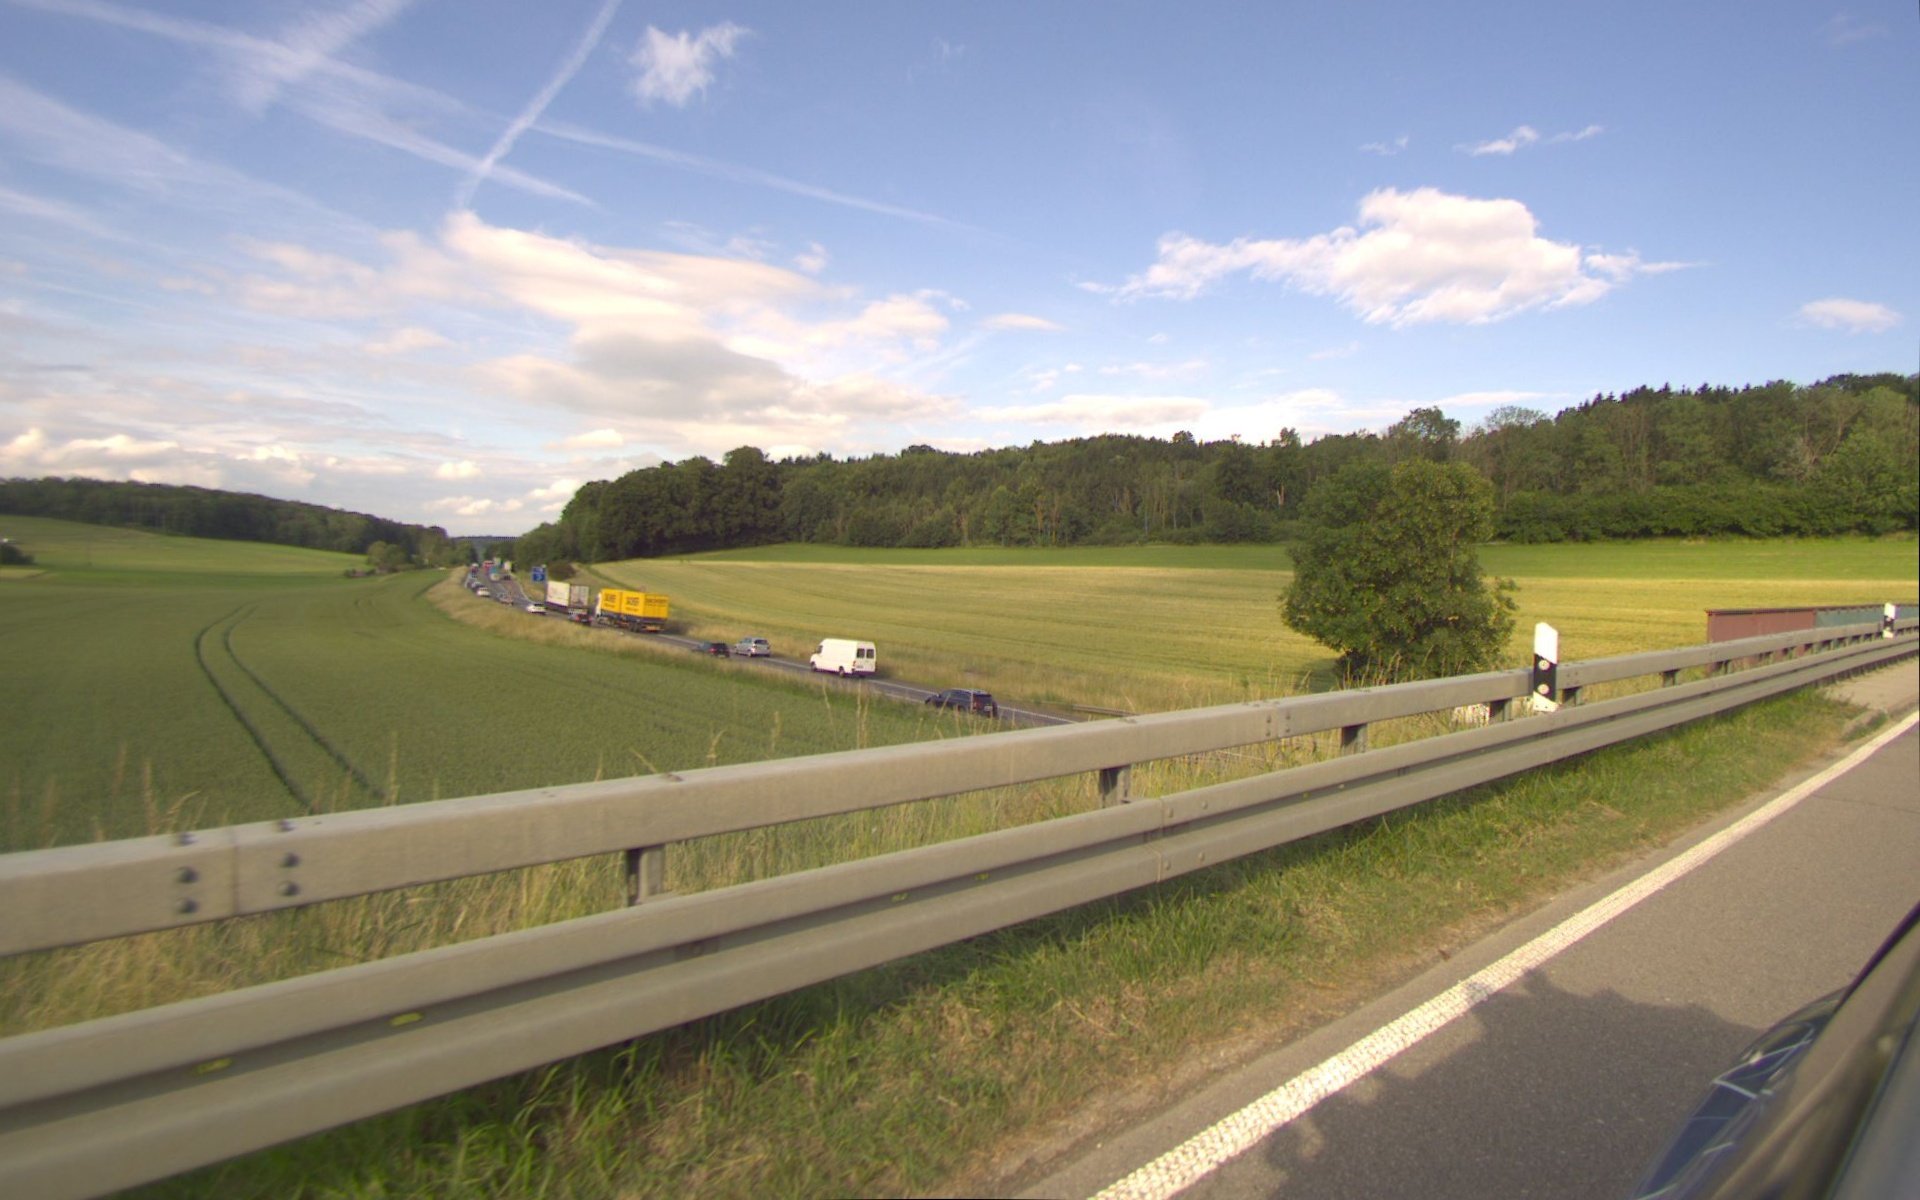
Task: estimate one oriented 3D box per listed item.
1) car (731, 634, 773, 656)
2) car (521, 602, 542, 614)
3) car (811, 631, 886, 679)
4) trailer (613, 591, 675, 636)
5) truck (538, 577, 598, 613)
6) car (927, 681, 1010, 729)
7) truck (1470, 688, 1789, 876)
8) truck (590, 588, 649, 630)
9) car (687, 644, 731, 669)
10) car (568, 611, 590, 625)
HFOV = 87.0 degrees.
[{"bbox_3d":[-17.146,3.682,83.314,1.770,1.487,3.999,4,0,-37],"label":"car"},{"bbox_3d":[-52.147,0.984,123.124,1.579,1.412,3.326,1,1,-38],"label":"car"},{"bbox_3d":[-7.848,3.811,70.718,2.328,2.617,6.125,6,-1,-35],"label":"car"},{"bbox_3d":[-32.785,1.289,104.716,3.763,4.109,9.135,-1,3,-33],"label":"trailer"},{"bbox_3d":[-52.958,-0.803,136.414,4.004,4.043,14.429,-4,5,-35],"label":"truck"},{"bbox_3d":[0.379,5.184,50.419,1.747,1.722,4.369,-1,3,-40],"label":"car"},{"bbox_3d":[21.699,5.606,33.327,2.974,4.524,8.052,4,0,-38],"label":"truck"},{"bbox_3d":[-37.935,0.929,112.540,3.764,4.109,9.807,-1,3,-34],"label":"truck"},{"bbox_3d":[-18.711,4.149,75.245,1.652,1.539,3.998,1,1,-38],"label":"car"},{"bbox_3d":[-39.837,1.856,105.782,1.352,1.284,3.099,1,1,-36],"label":"car"}]
